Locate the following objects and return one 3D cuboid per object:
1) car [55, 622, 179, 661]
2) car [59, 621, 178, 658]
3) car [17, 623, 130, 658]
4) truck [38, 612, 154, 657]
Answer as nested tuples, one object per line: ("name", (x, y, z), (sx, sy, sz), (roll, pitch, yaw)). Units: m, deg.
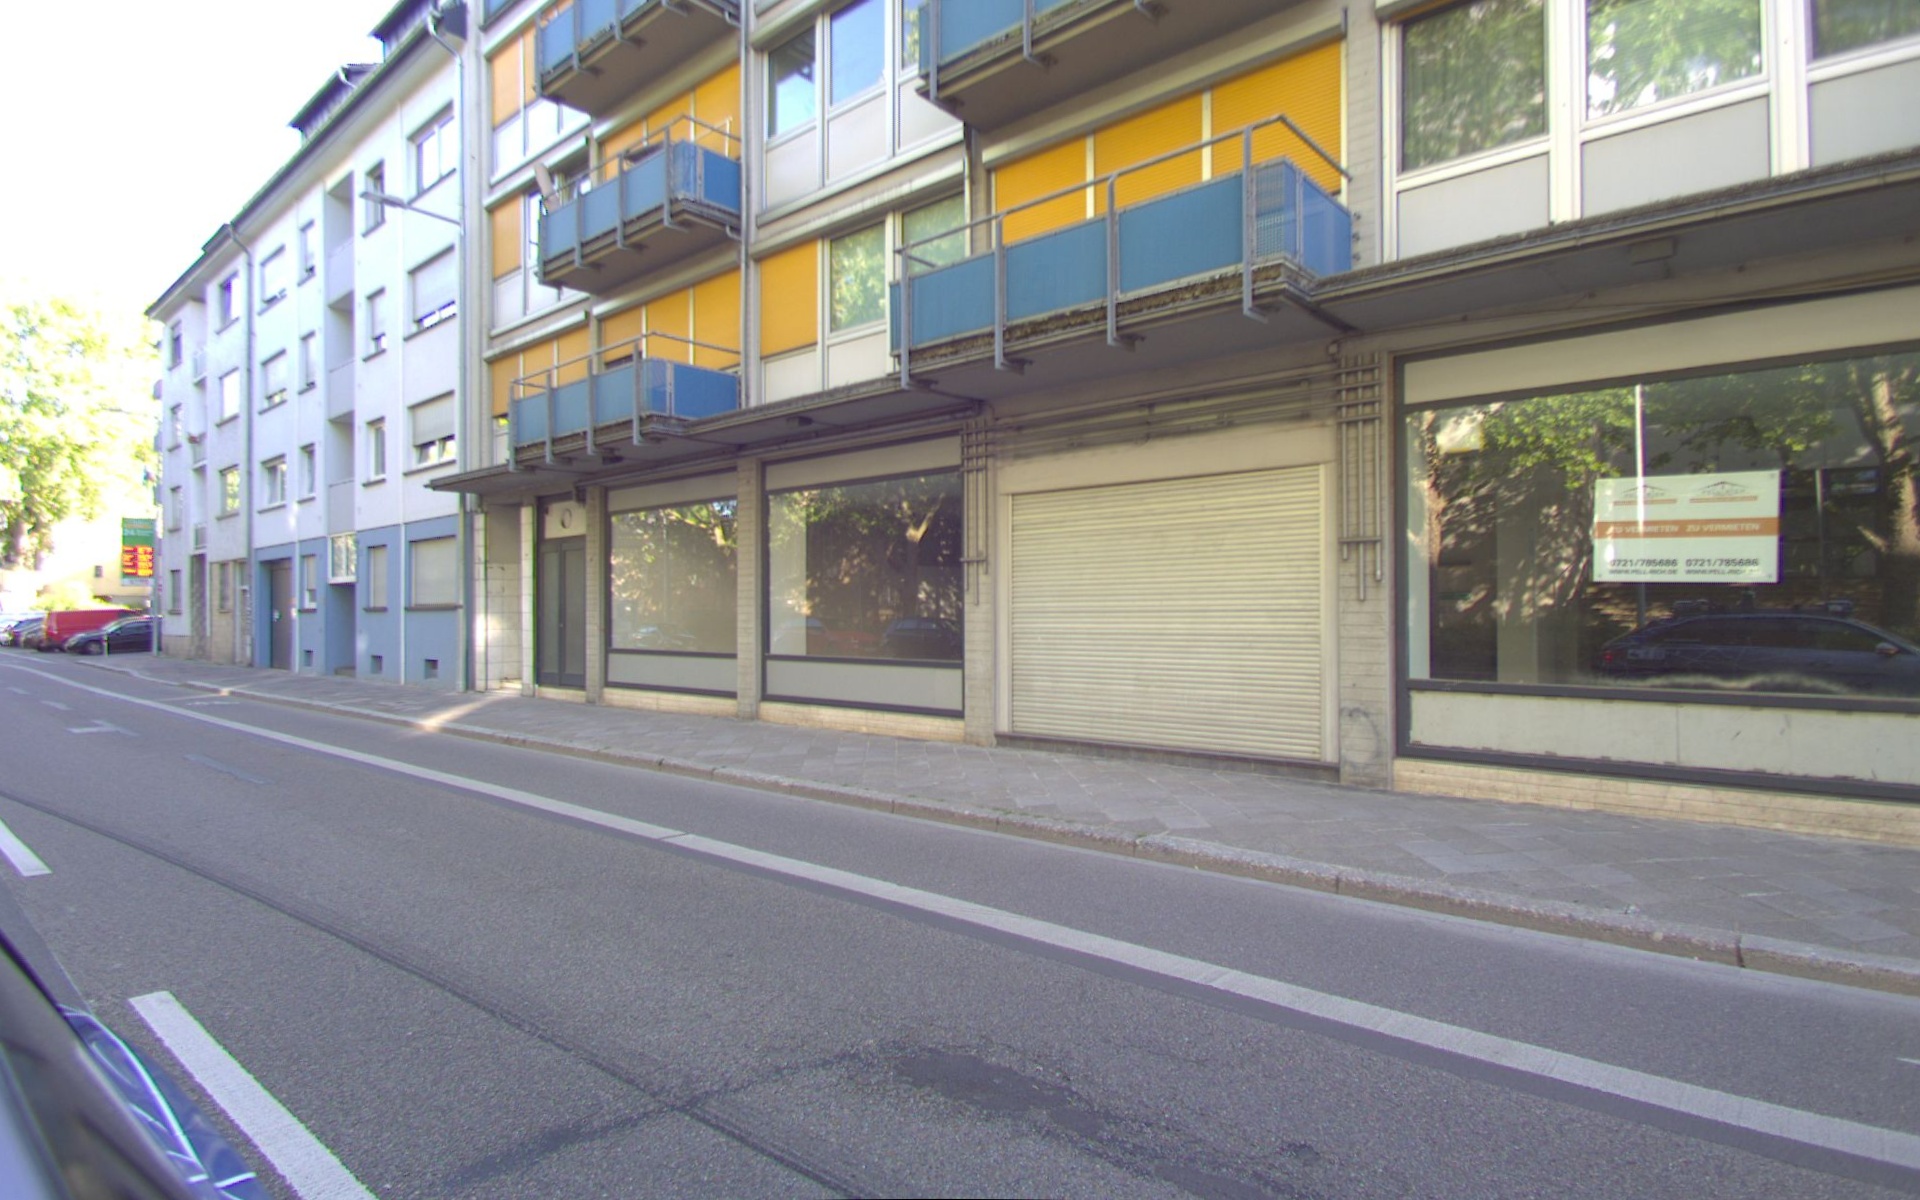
("car", (-36.635, 1.765, 44.020), (1.761, 1.468, 3.944), (-1, 0, 42))
("car", (-38.115, 1.761, 45.908), (1.761, 1.514, 3.944), (-1, 0, 42))
("car", (-42.916, 1.906, 49.047), (1.761, 1.514, 3.944), (-1, 0, 42))
("truck", (-40.506, 1.574, 47.499), (1.761, 1.951, 3.944), (-1, 0, 42))
